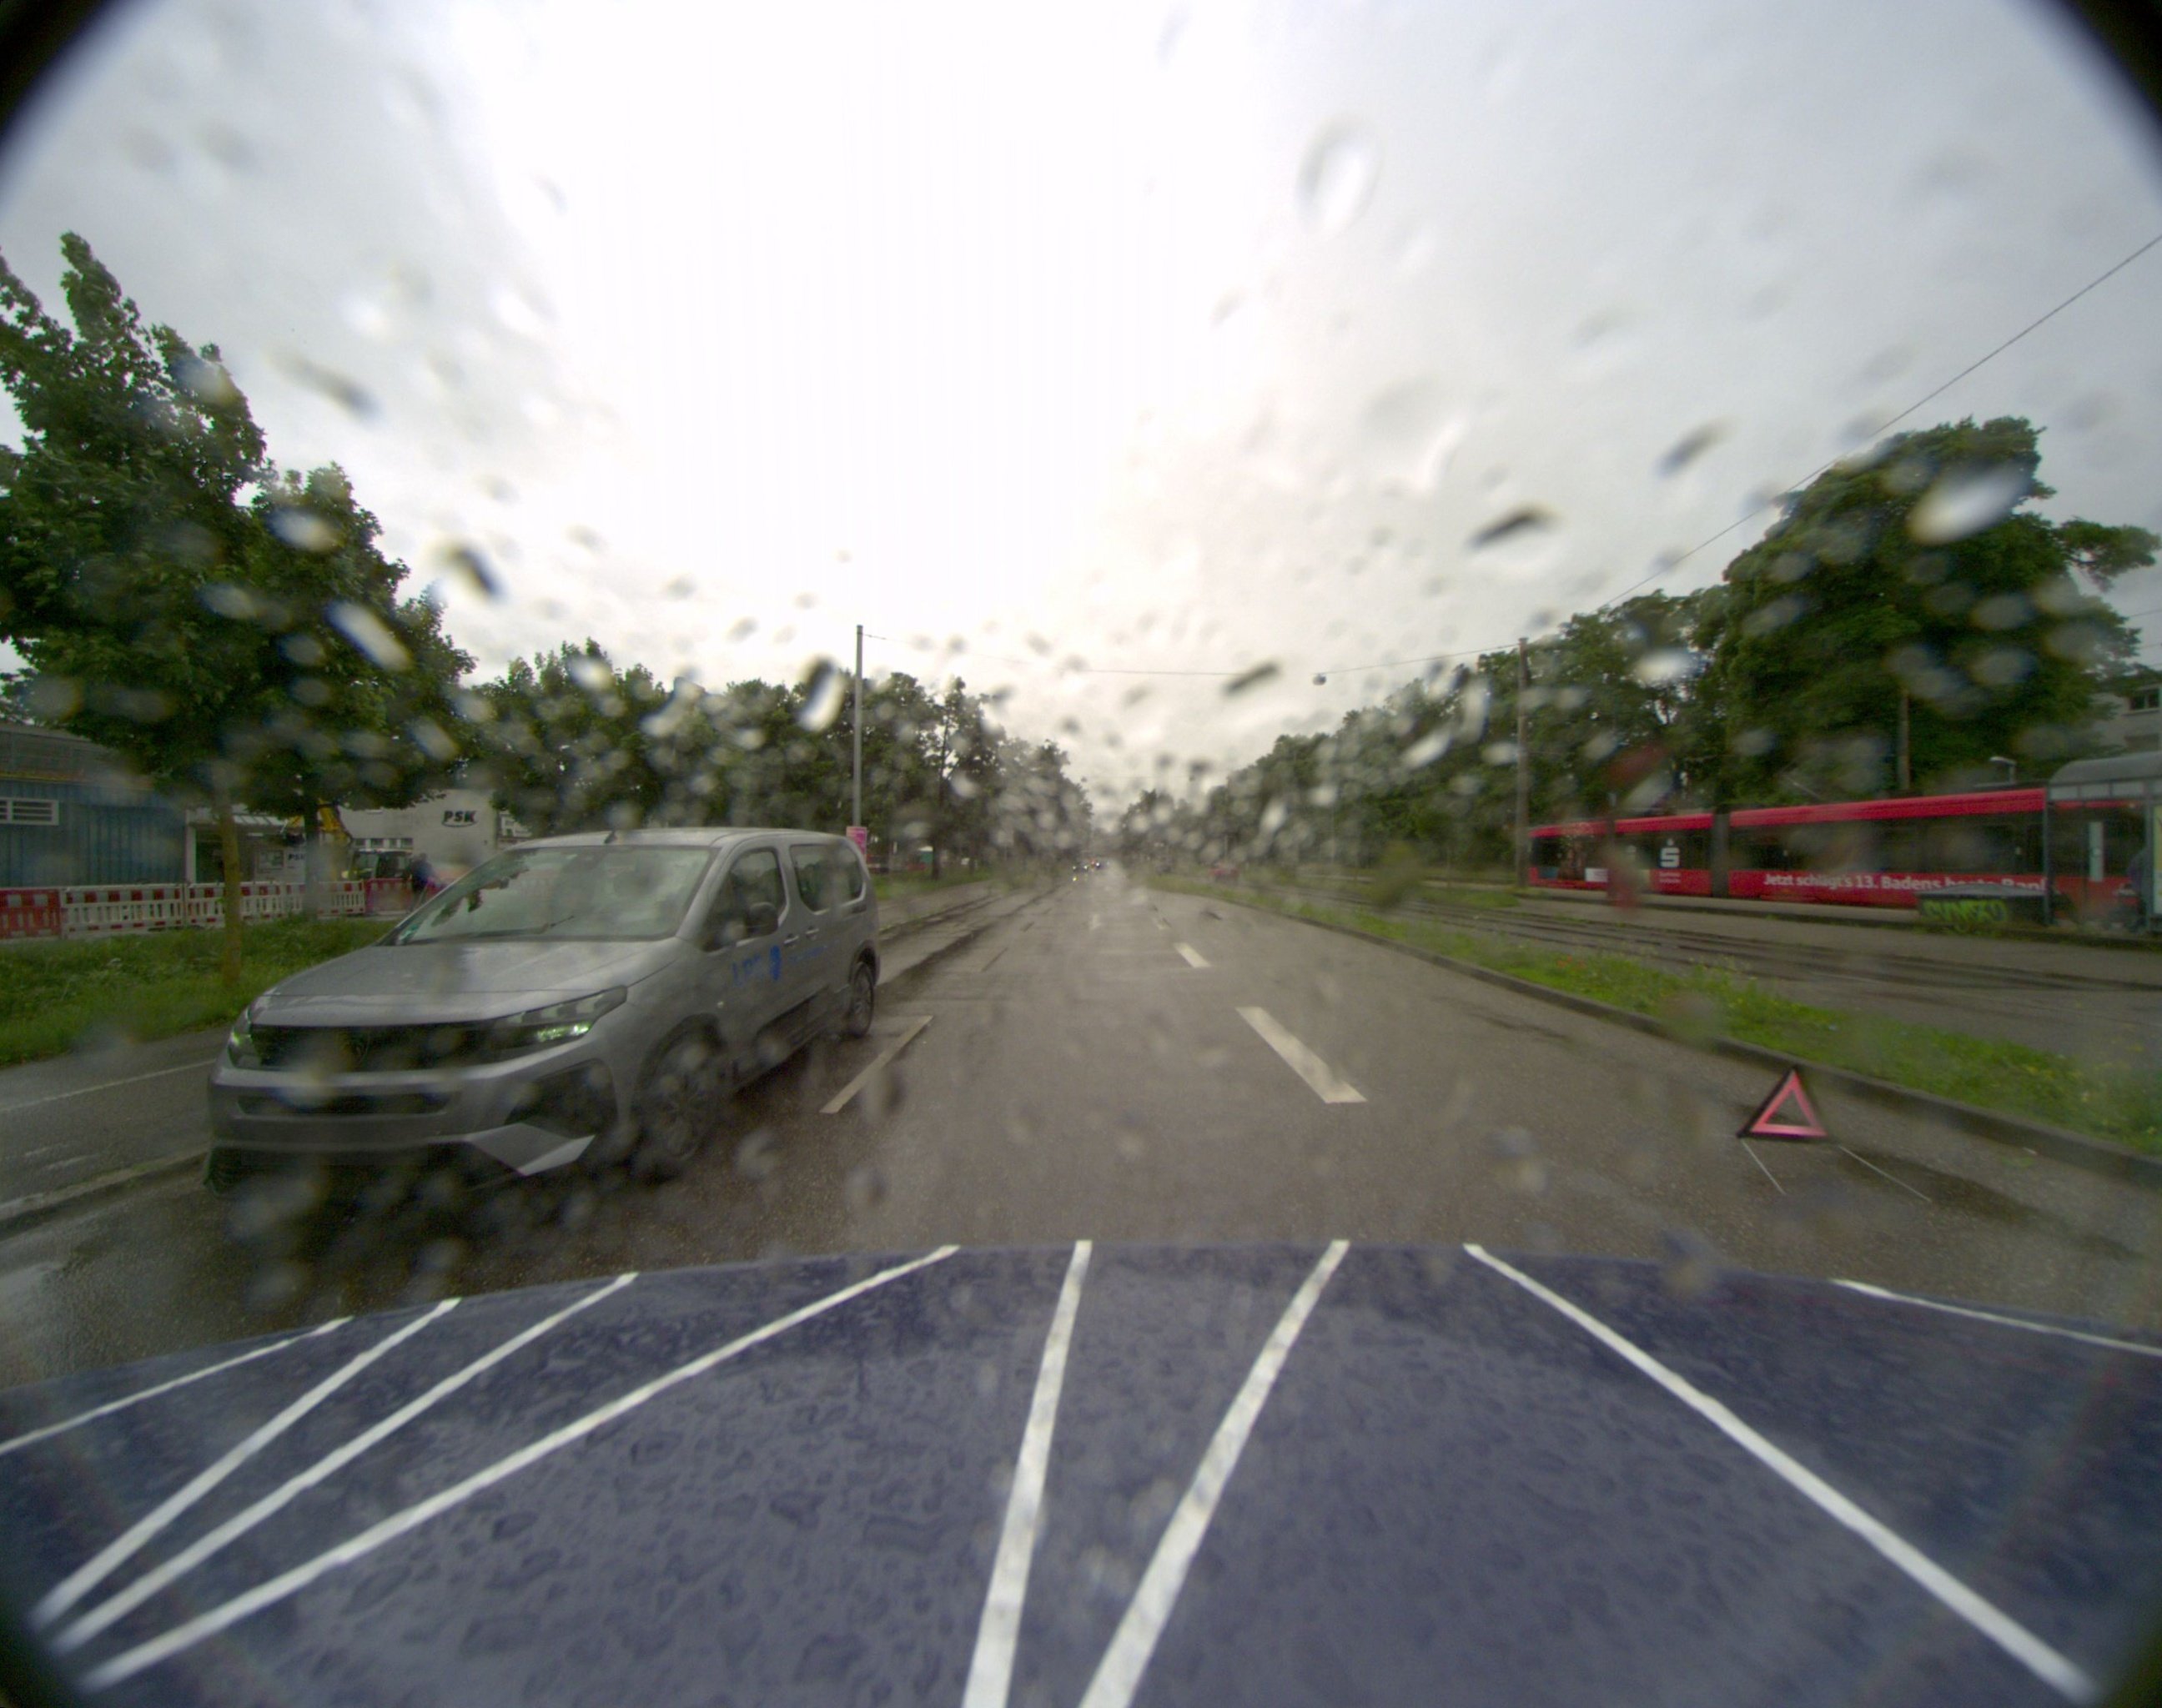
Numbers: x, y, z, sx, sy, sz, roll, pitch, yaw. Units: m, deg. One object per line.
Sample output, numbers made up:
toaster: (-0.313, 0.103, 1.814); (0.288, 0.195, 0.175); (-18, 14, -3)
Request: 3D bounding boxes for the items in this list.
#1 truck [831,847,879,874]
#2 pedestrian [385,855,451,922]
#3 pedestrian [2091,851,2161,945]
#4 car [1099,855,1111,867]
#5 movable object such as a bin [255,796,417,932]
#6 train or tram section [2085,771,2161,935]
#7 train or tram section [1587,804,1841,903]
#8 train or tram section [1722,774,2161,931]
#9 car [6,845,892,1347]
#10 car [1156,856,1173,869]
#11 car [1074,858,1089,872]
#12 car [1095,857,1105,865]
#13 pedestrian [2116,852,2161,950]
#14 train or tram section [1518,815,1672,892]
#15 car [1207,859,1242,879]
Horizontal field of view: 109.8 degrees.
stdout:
truck: (-26.383, 0.702, 89.096); (2.811, 2.882, 8.749); (-2, 1, 0)
pedestrian: (-19.941, 1.018, 22.881); (0.814, 1.924, 1.212); (-2, 1, 0)
pedestrian: (17.850, 0.742, 12.929); (0.522, 1.553, 0.602); (-2, 1, 15)
car: (3.789, 1.061, 119.675); (1.812, 1.683, 3.776); (-2, 1, 0)
movable object such as a bin: (-26.134, 0.312, 26.856); (1.557, 4.401, 3.909); (-2, 1, 2)
train or tram section: (23.925, -0.035, 12.156); (3.541, 3.370, 9.278); (0, 0, 1)
train or tram section: (24.310, -0.025, 29.990); (3.541, 3.392, 7.903); (0, 0, 1)
train or tram section: (24.111, -0.032, 21.456); (3.541, 3.381, 10.261); (0, 0, 1)
car: (-2.869, 0.878, 5.054); (1.998, 1.785, 4.562); (-2, 0, 0)
car: (10.048, 0.969, 91.610); (1.741, 1.428, 3.820); (-1, 1, 1)
car: (0.022, 1.381, 97.660); (1.858, 1.583, 3.999); (-2, 1, 0)
car: (3.889, 1.499, 158.036); (1.898, 1.602, 4.000); (-2, 1, 1)
pedestrian: (17.472, 0.753, 12.374); (0.444, 1.553, 0.602); (-2, 1, 15)
train or tram section: (24.428, -0.024, 36.553); (3.541, 3.398, 5.770); (0, 0, 1)
car: (10.614, 1.058, 56.392); (1.685, 1.353, 4.251); (2, 0, -1)
